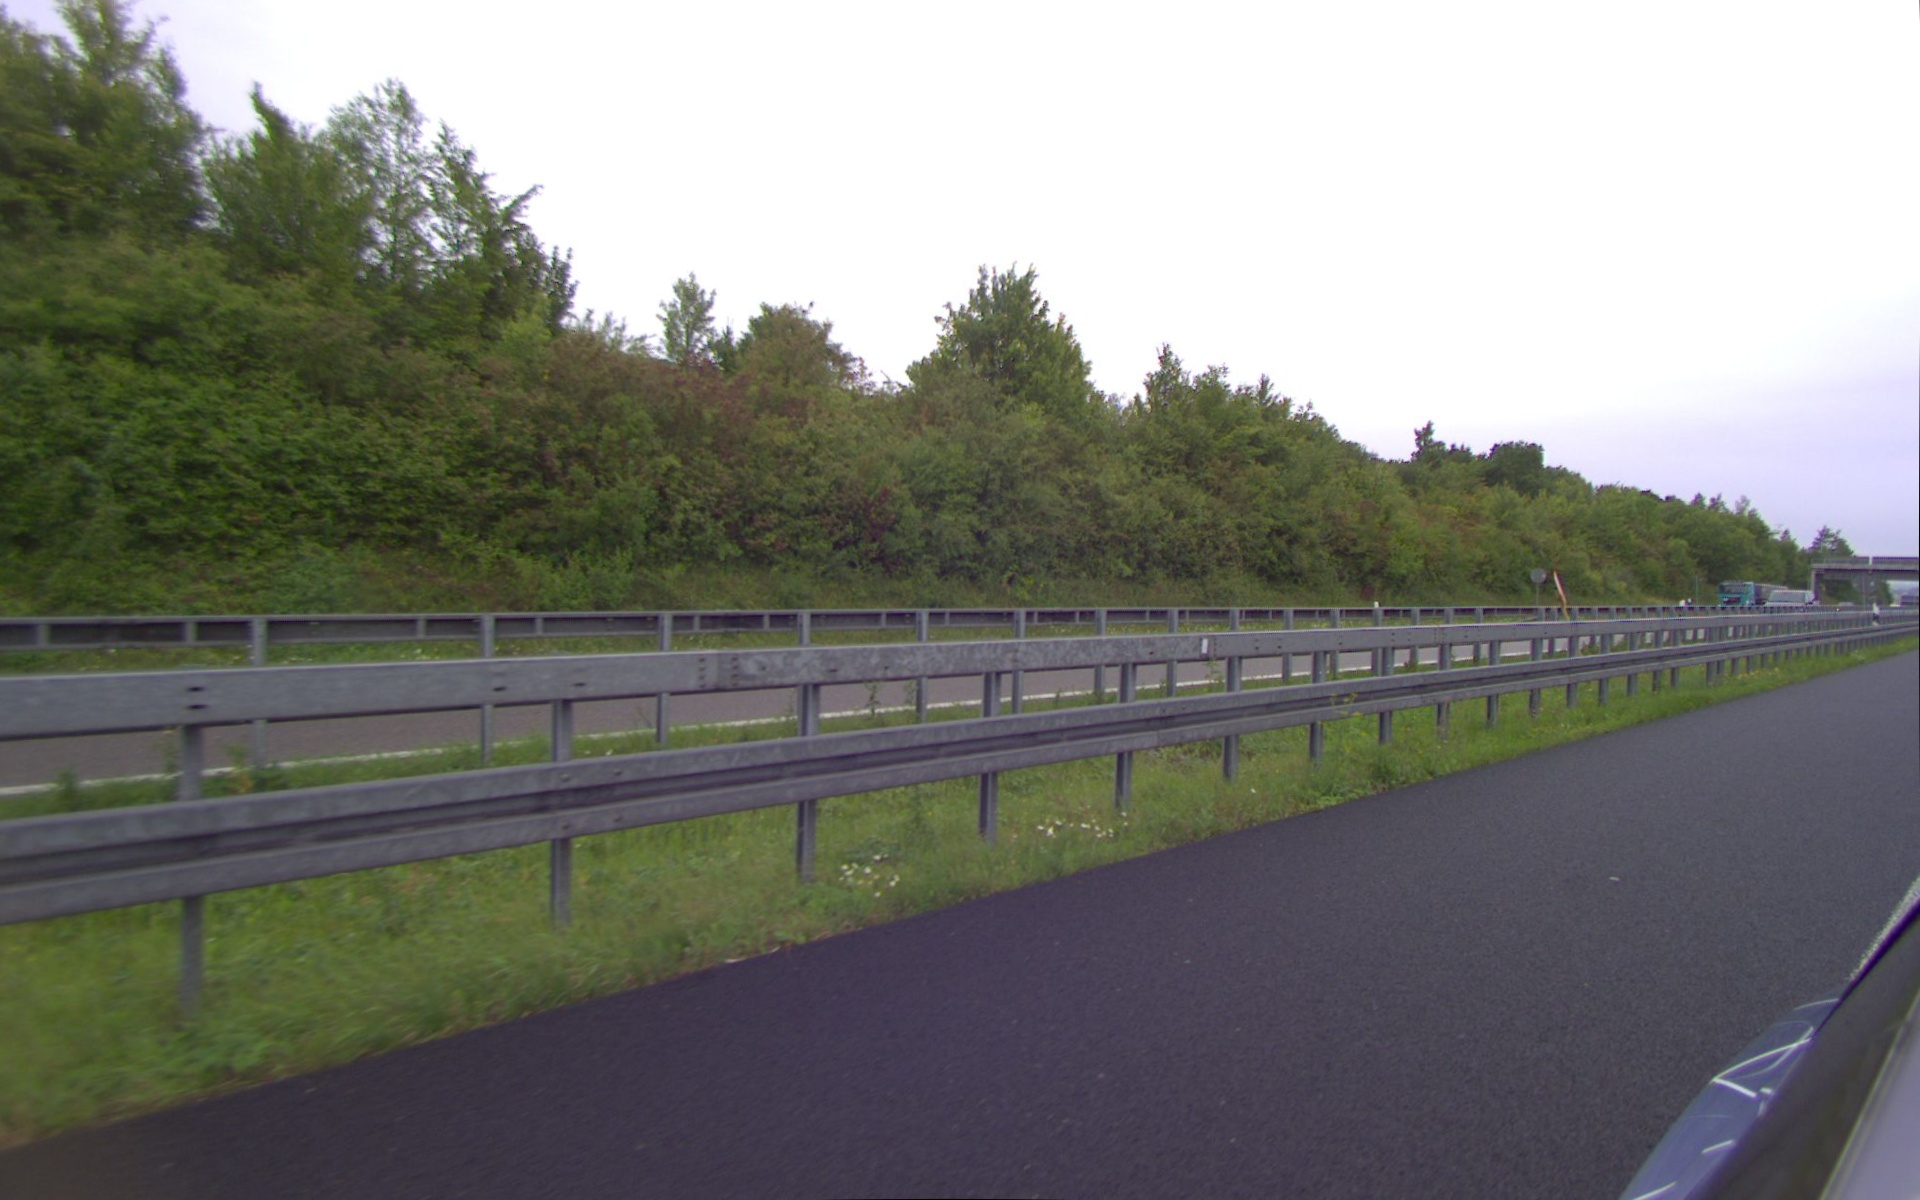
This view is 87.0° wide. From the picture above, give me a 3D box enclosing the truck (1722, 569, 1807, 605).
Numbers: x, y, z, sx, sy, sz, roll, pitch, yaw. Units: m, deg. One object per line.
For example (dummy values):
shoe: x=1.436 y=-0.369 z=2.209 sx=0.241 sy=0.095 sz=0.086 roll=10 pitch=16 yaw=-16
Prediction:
truck: x=82.951 y=-1.307 z=104.196 sx=13.094 sy=3.460 sz=2.912 roll=0 pitch=1 yaw=-33
